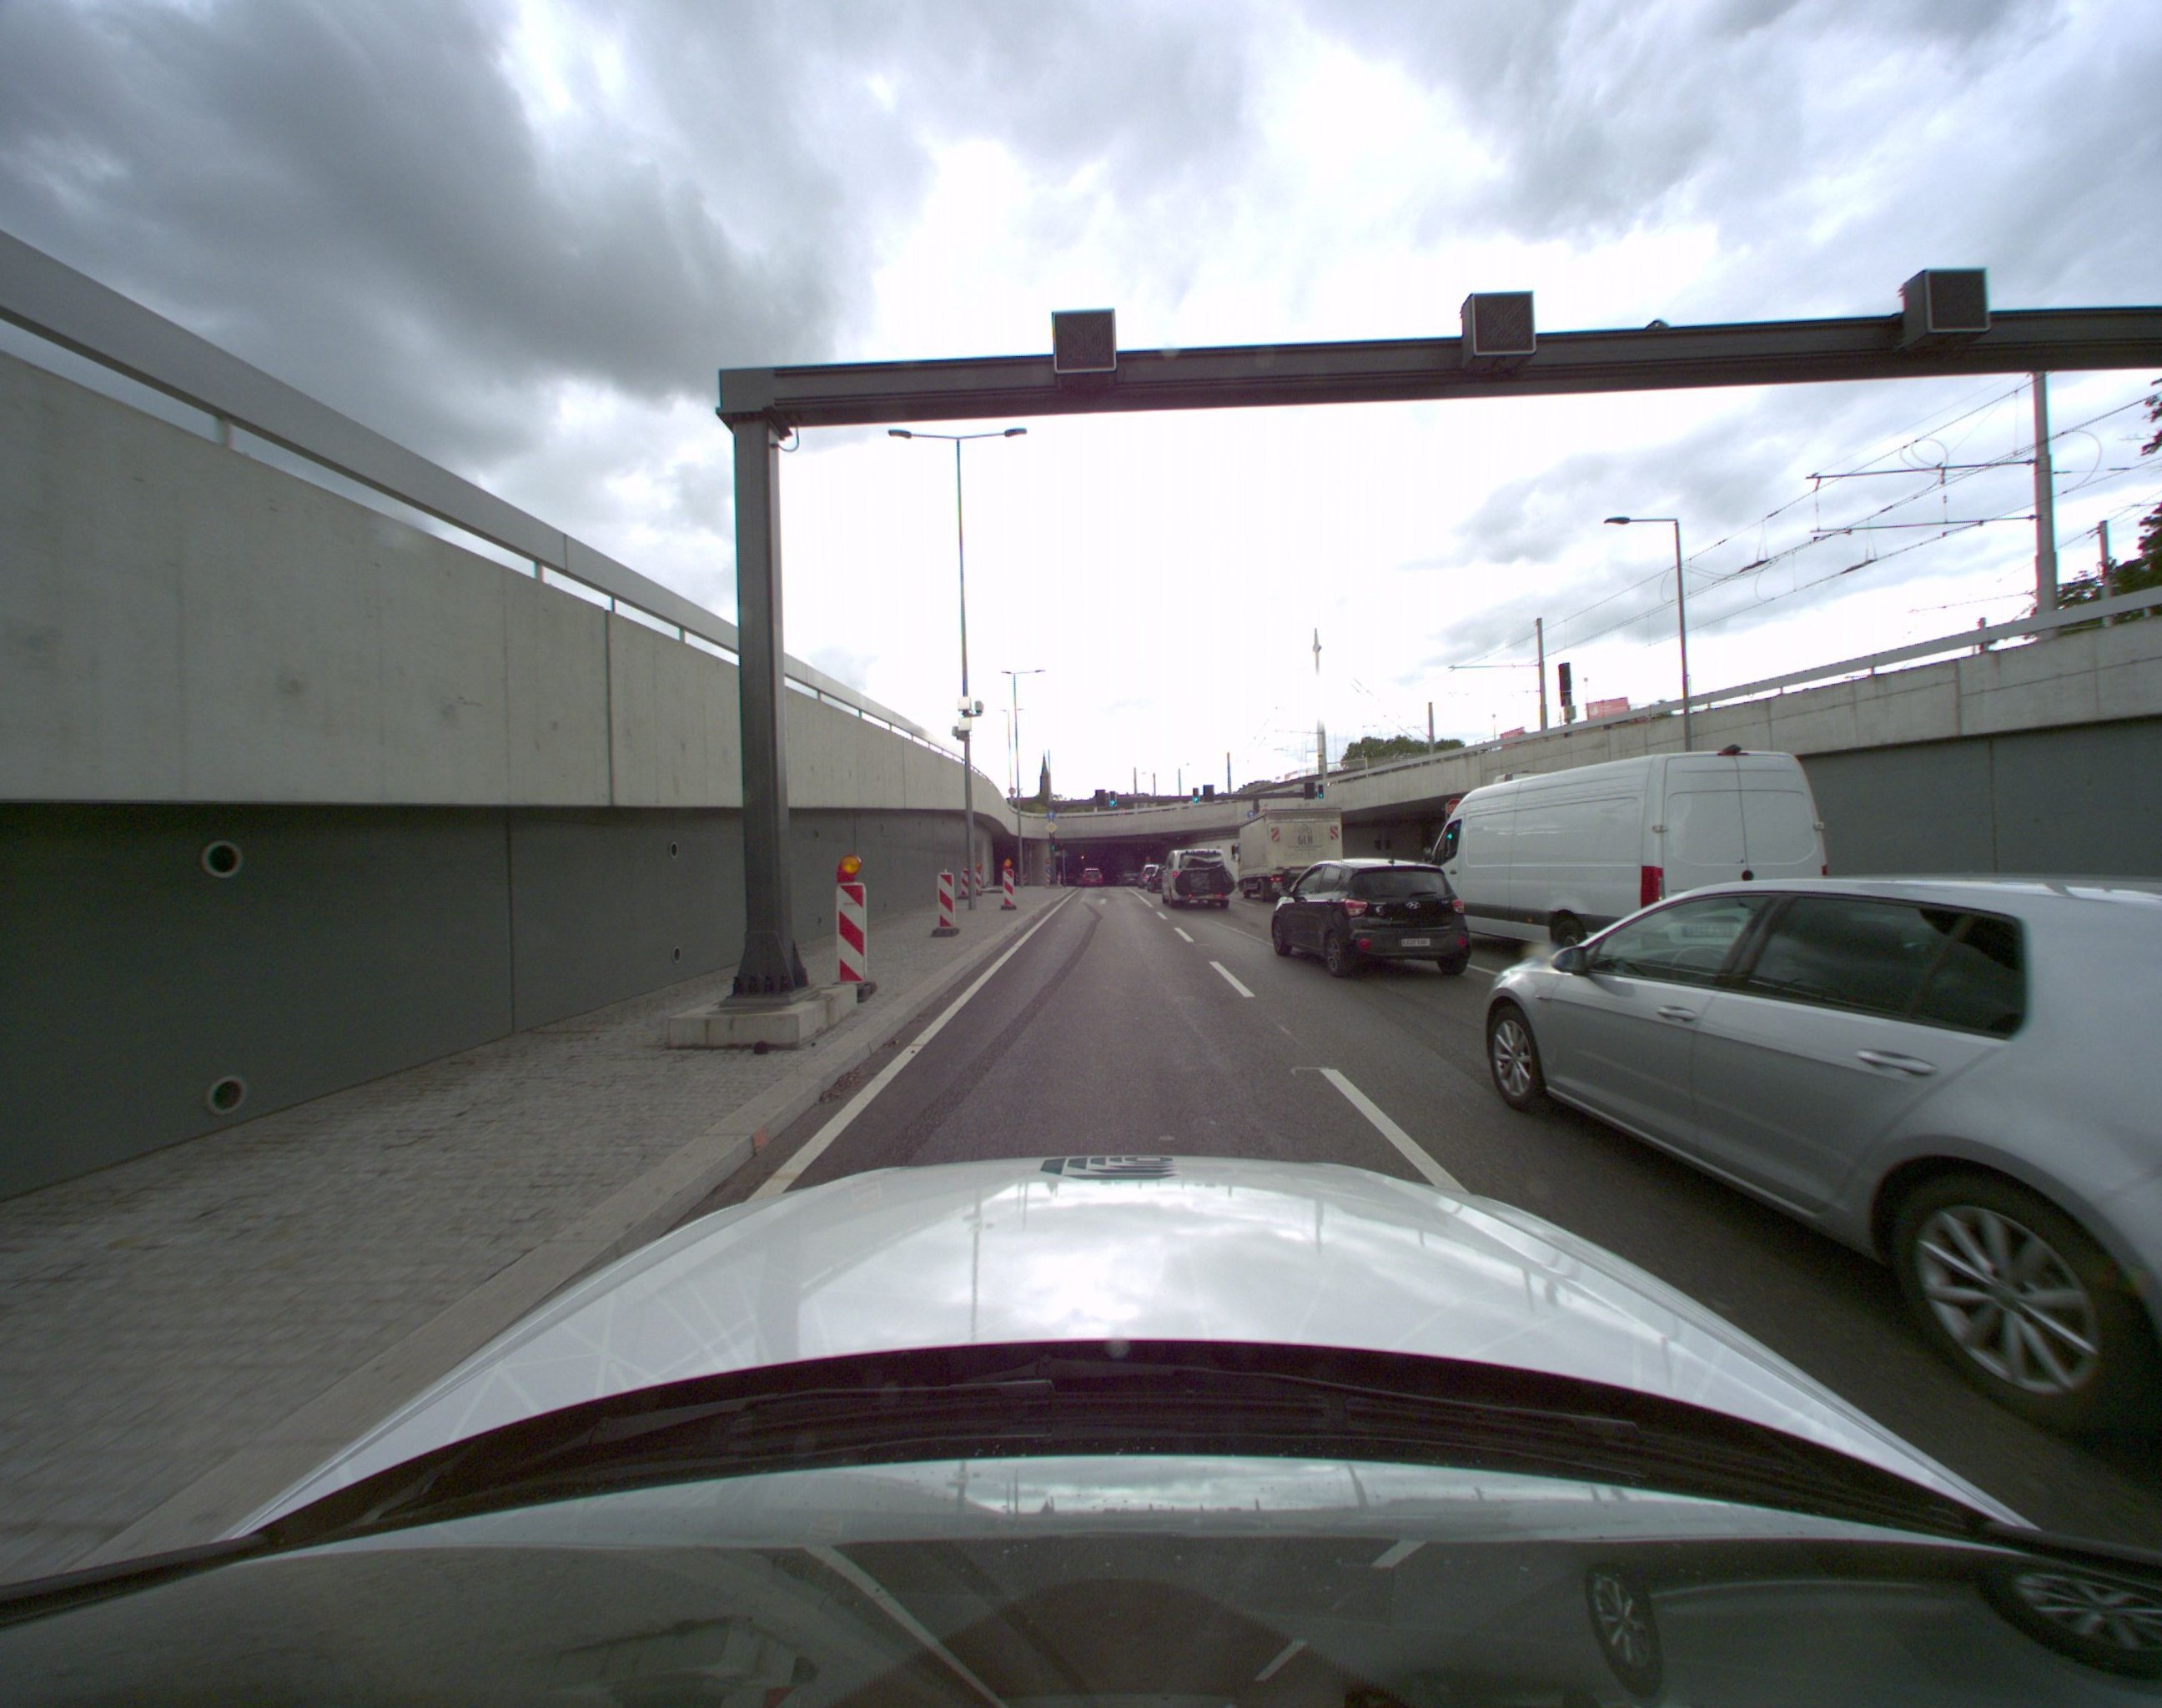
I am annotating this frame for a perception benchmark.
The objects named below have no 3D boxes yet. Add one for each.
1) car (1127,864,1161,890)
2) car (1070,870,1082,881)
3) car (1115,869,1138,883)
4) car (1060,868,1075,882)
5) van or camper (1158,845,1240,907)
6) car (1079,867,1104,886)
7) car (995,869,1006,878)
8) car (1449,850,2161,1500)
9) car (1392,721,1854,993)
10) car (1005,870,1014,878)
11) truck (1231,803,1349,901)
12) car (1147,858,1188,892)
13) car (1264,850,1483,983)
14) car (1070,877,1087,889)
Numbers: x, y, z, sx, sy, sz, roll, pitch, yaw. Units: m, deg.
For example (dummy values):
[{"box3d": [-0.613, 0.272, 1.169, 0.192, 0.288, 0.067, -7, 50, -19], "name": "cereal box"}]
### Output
[{"box3d": [4.093, 1.474, 53.666, 1.813, 1.580, 3.997, 2, -1, -1], "name": "car"}, {"box3d": [-0.856, 3.587, 136.534, 1.989, 1.773, 3.996, -1, 0, -3], "name": "car"}, {"box3d": [4.102, 1.990, 73.342, 1.660, 1.247, 3.562, -2, -2, -4], "name": "car"}, {"box3d": [-2.128, 3.233, 124.614, 1.991, 2.014, 3.992, -1, 0, -6], "name": "car"}, {"box3d": [3.771, 0.762, 26.975, 1.987, 1.845, 5.507, 0, -2, 1], "name": "van or camper"}, {"box3d": [0.804, 1.820, 66.094, 1.657, 1.488, 3.560, -1, -2, -5], "name": "car"}, {"box3d": [-13.230, 3.216, 133.778, 1.661, 1.441, 4.106, -2, -1, -5], "name": "car"}, {"box3d": [3.352, 0.718, 3.540, 1.757, 1.383, 4.041, -2, 1, 2], "name": "car"}, {"box3d": [7.028, 0.035, 12.131, 2.068, 2.773, 7.327, -1, 0, 1], "name": "car"}, {"box3d": [-14.547, 4.054, 166.176, 1.806, 1.604, 4.777, -2, 0, -6], "name": "car"}, {"box3d": [7.677, 0.001, 30.935, 2.640, 3.185, 7.427, -2, -1, 1], "name": "truck"}, {"box3d": [4.476, 1.083, 42.658, 1.812, 1.684, 4.000, 0, -1, 1], "name": "car"}, {"box3d": [3.854, 0.728, 11.402, 1.677, 1.545, 3.691, 0, 0, -1], "name": "car"}, {"box3d": [-0.261, 3.142, 89.598, 1.506, 1.247, 3.560, -1, -2, -5], "name": "car"}]
